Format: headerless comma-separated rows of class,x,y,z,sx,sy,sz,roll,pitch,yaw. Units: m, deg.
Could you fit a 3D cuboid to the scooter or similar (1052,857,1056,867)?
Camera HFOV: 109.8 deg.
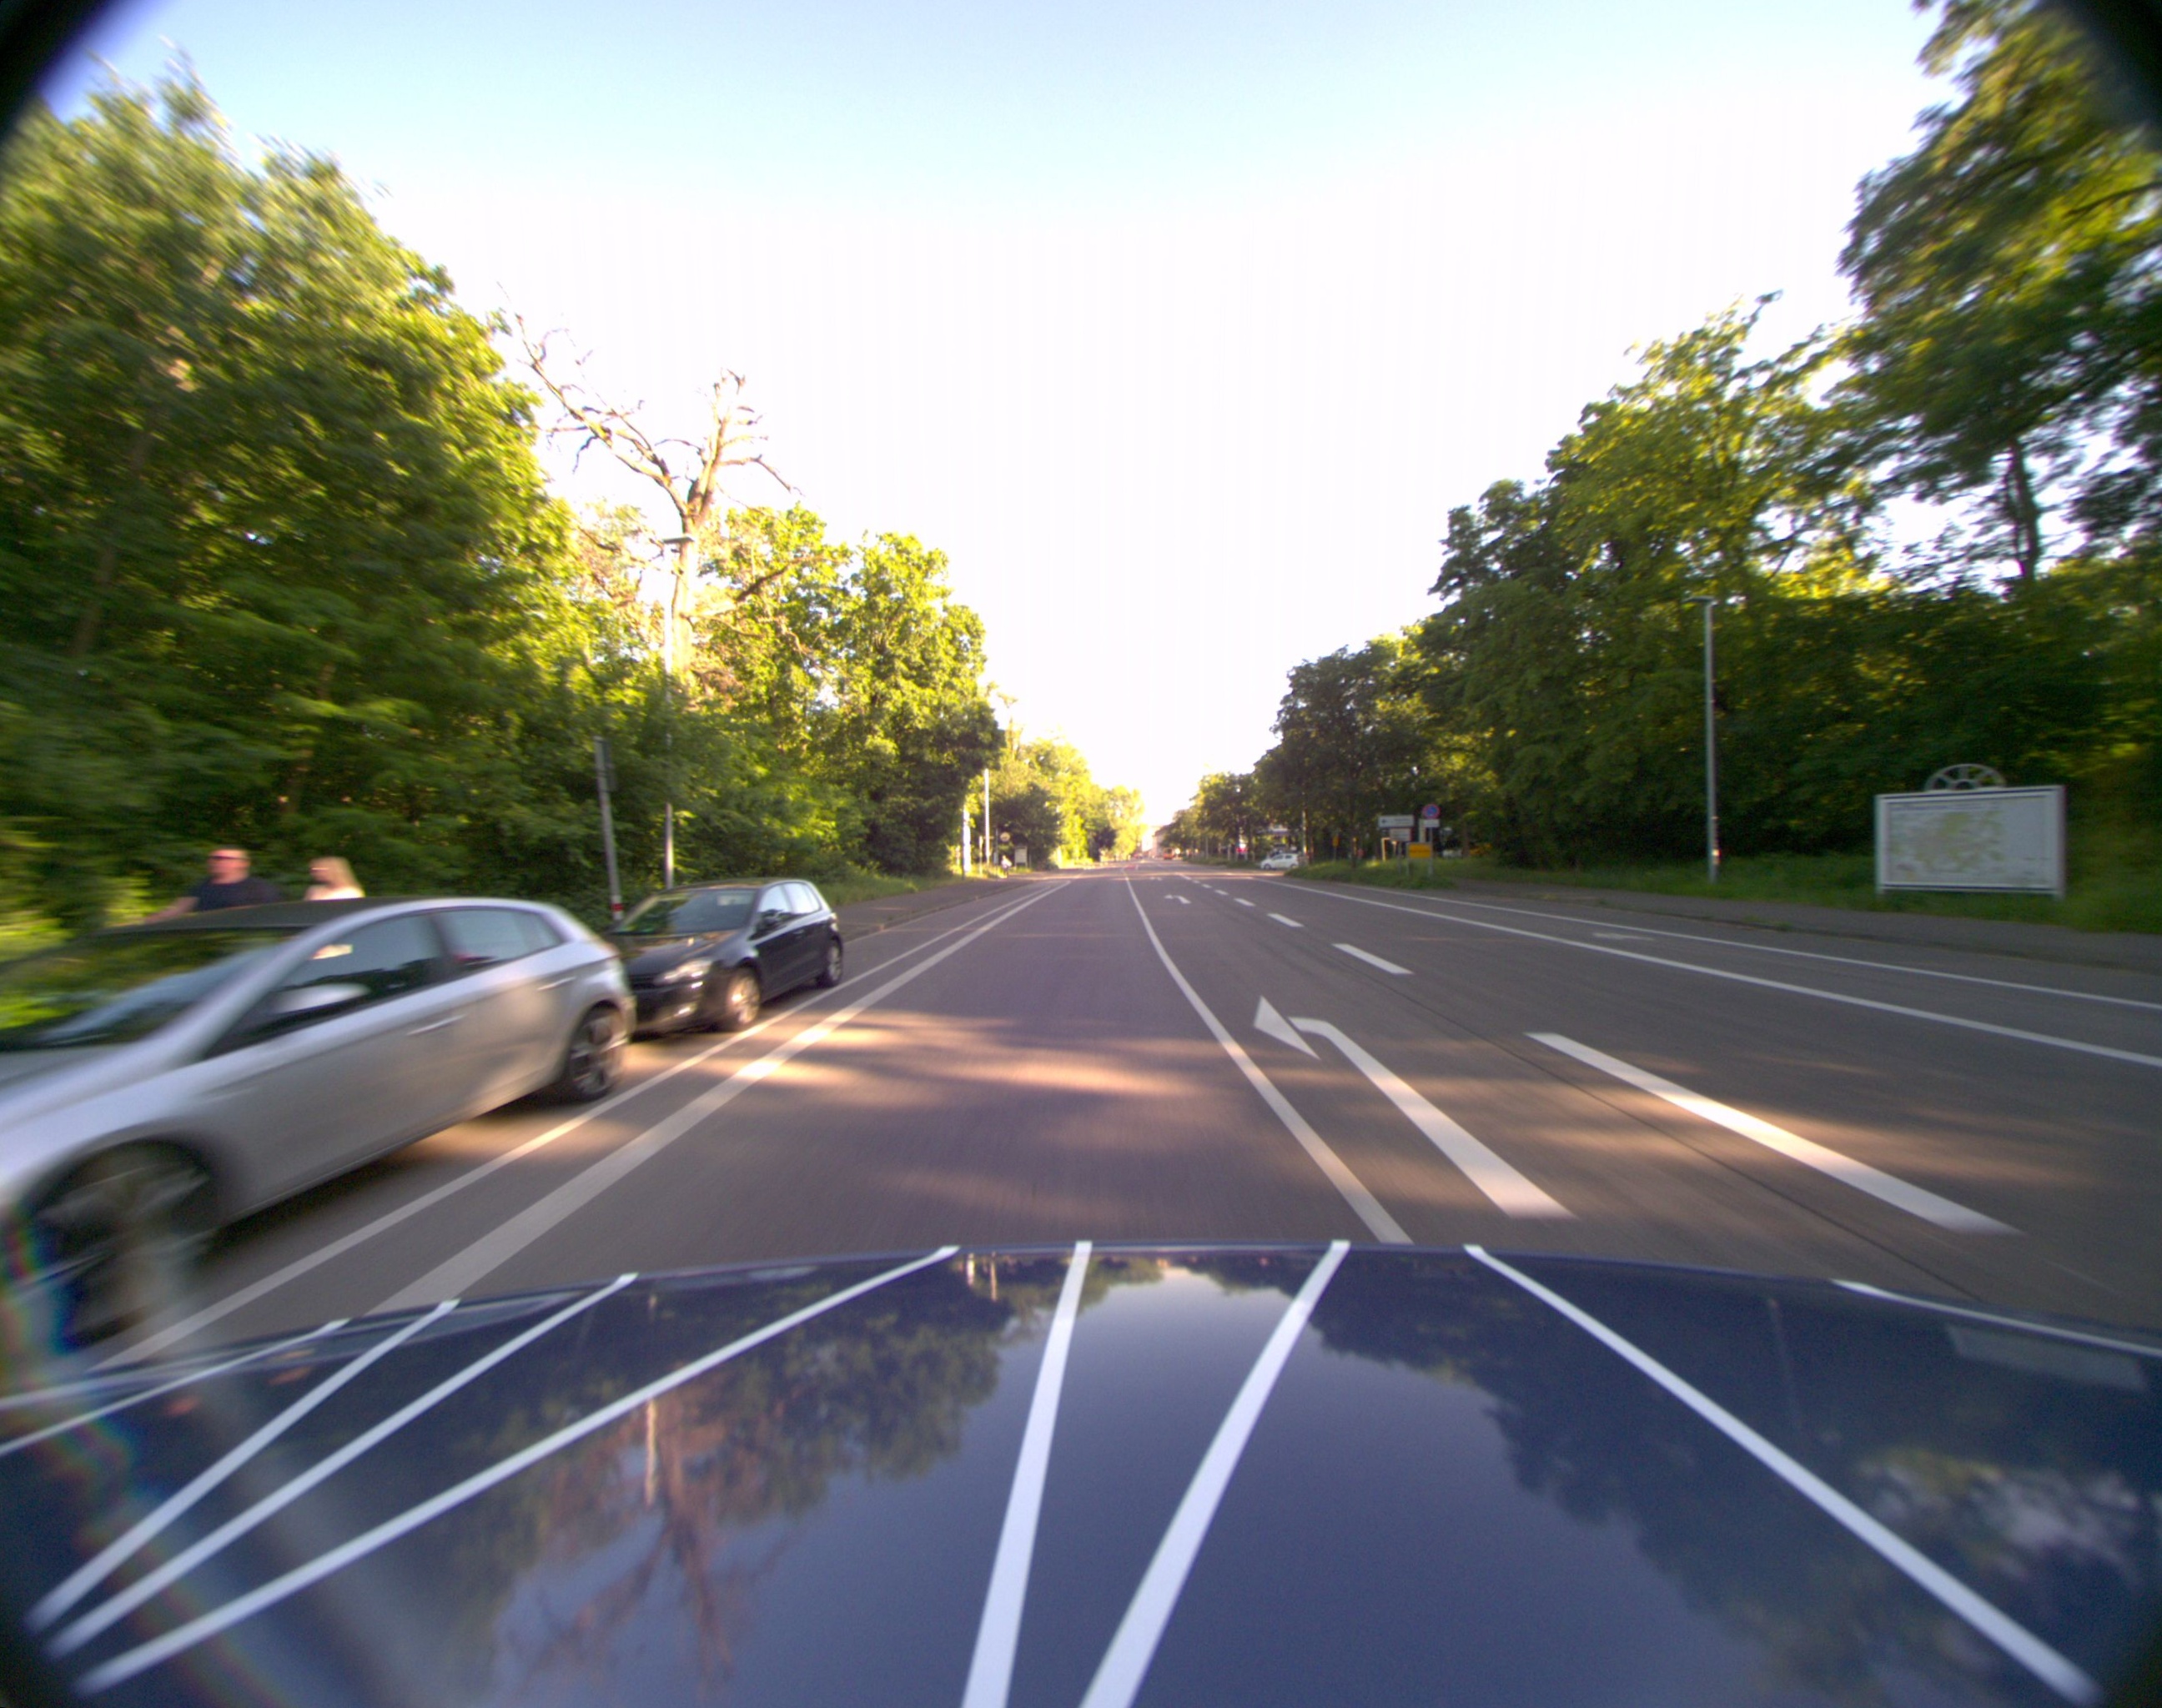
scooter or similar,-3.001,0.883,84.159,0.386,1.177,1.103,-1,1,4

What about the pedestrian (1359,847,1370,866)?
pedestrian,26.795,0.257,71.885,0.832,1.809,0.738,-1,1,33

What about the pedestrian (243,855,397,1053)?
pedestrian,-7.258,0.910,7.286,0.676,1.788,0.789,1,1,-2

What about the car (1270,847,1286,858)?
car,29.863,-0.259,115.415,1.758,1.631,3.613,-1,0,5

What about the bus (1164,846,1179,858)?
bus,27.206,-0.561,228.644,3.038,3.388,9.480,-1,0,-1

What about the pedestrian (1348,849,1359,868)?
pedestrian,26.015,0.416,72.634,0.832,1.809,0.738,-1,1,33

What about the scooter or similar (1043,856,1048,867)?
scooter or similar,-3.824,0.830,82.227,0.386,1.177,1.103,-1,1,4

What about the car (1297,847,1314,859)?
car,33.066,-0.135,111.994,1.758,1.631,3.839,-1,0,5

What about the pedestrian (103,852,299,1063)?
pedestrian,-7.952,0.878,6.919,0.676,1.788,0.953,1,1,-2

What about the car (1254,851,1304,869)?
car,17.703,0.530,67.901,3.932,1.517,1.834,-1,1,36

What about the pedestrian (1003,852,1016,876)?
pedestrian,-5.375,0.745,56.955,0.809,1.789,0.734,-1,1,3

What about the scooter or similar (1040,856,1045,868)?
scooter or similar,-4.091,0.857,81.043,0.386,1.177,1.103,-1,1,4

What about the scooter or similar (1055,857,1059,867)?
scooter or similar,-2.863,0.963,91.257,0.386,1.177,1.103,-1,1,4

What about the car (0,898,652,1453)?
car,-4.232,1.119,3.688,1.741,1.516,4.359,-1,0,1

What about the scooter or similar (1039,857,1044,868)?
scooter or similar,-4.162,0.875,79.335,0.386,1.177,1.188,-1,1,4

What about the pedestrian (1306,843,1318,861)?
pedestrian,22.879,-0.219,75.356,0.737,1.809,0.833,-2,1,-33

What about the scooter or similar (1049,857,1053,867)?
scooter or similar,-3.401,0.884,85.748,0.386,1.177,1.103,-1,1,4

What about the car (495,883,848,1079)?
car,-4.037,1.142,8.362,1.661,1.443,4.020,-1,0,0
